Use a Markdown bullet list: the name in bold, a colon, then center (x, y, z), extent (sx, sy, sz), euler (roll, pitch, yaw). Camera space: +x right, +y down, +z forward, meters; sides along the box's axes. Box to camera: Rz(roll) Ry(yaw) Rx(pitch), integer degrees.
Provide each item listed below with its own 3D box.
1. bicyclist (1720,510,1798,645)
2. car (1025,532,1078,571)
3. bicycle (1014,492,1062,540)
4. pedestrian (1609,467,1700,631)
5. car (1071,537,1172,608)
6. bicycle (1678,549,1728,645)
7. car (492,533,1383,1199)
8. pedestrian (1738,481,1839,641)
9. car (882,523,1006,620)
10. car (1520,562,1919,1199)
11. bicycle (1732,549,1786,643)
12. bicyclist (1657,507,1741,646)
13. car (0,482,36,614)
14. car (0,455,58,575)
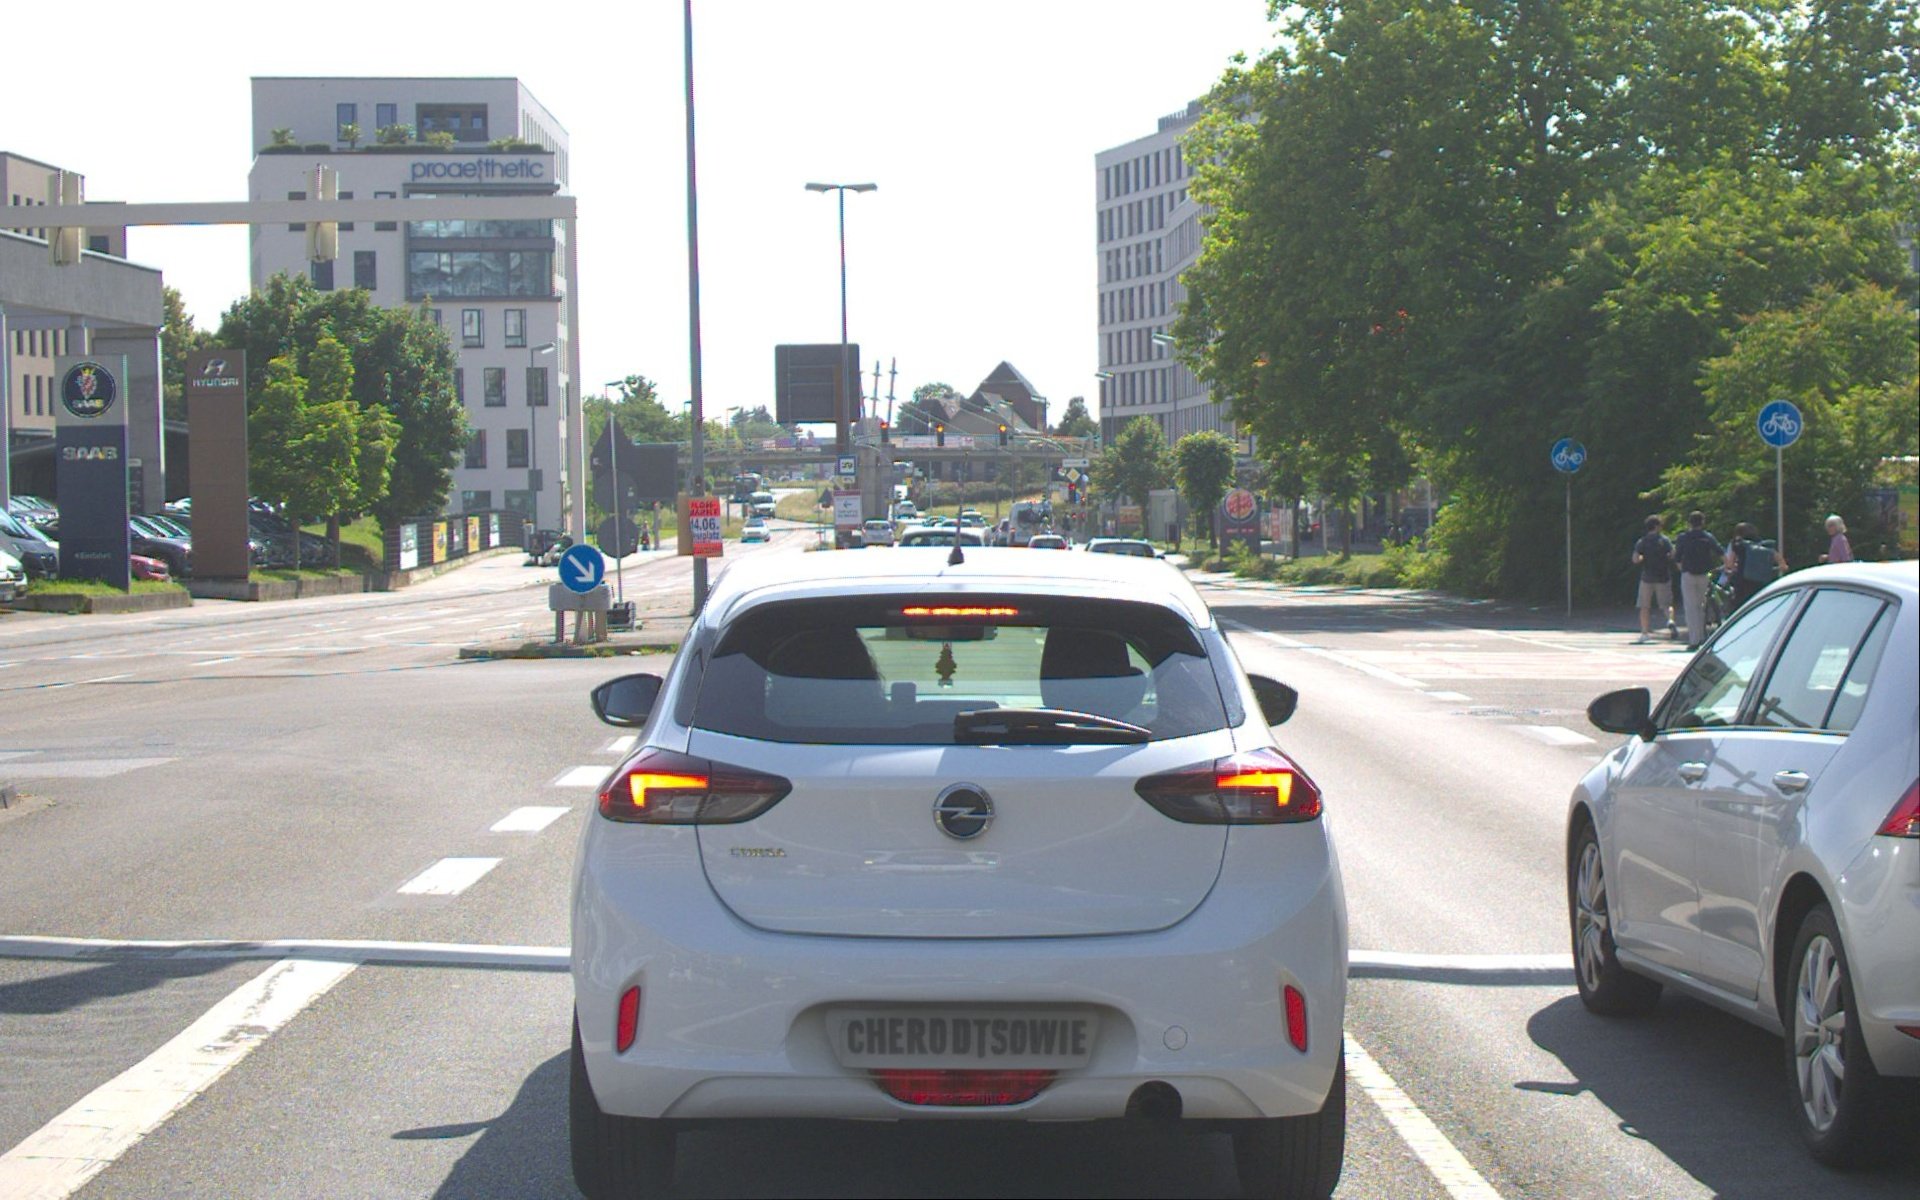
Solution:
- **bicyclist**: center (9.884, -0.284, 42.526), extent (0.688, 1.637, 0.777), euler (-1, 1, -9)
- **car**: center (3.335, -1.780, 125.919), extent (1.806, 1.381, 4.000), euler (1, 1, -1)
- **bicycle**: center (3.529, -3.801, 155.706), extent (1.993, 2.150, 4.000), euler (-1, 1, -1)
- **pedestrian**: center (9.615, -0.714, 47.636), extent (1.027, 2.231, 1.039), euler (-1, 1, -1)
- **car**: center (3.259, -0.569, 70.072), extent (1.806, 1.381, 4.000), euler (1, 1, -1)
- **bicycle**: center (9.578, -0.050, 44.333), extent (0.372, 1.212, 1.154), euler (1, 1, 0)
- **car**: center (-0.069, 0.583, 8.905), extent (1.779, 1.489, 4.000), euler (0, 1, -1)
- **pedestrian**: center (10.587, -0.503, 43.962), extent (1.027, 2.007, 1.039), euler (-1, 1, -1)
- **car**: center (-0.246, -0.411, 53.042), extent (1.806, 1.381, 4.000), euler (2, 0, 0)
- **car**: center (2.835, 0.618, 9.413), extent (1.807, 1.424, 4.000), euler (-1, 1, -2)
- **bicycle**: center (9.892, -0.050, 42.576), extent (0.373, 1.143, 1.034), euler (1, 0, -2)
- **bicyclist**: center (9.527, -0.315, 44.334), extent (0.879, 1.766, 0.864), euler (-1, 1, 0)
- **car**: center (-21.513, -1.040, 70.377), extent (4.498, 2.675, 2.128), euler (-1, 1, 9)
- **car**: center (-22.345, -1.842, 75.678), extent (4.357, 2.592, 2.000), euler (-1, 1, 5)
